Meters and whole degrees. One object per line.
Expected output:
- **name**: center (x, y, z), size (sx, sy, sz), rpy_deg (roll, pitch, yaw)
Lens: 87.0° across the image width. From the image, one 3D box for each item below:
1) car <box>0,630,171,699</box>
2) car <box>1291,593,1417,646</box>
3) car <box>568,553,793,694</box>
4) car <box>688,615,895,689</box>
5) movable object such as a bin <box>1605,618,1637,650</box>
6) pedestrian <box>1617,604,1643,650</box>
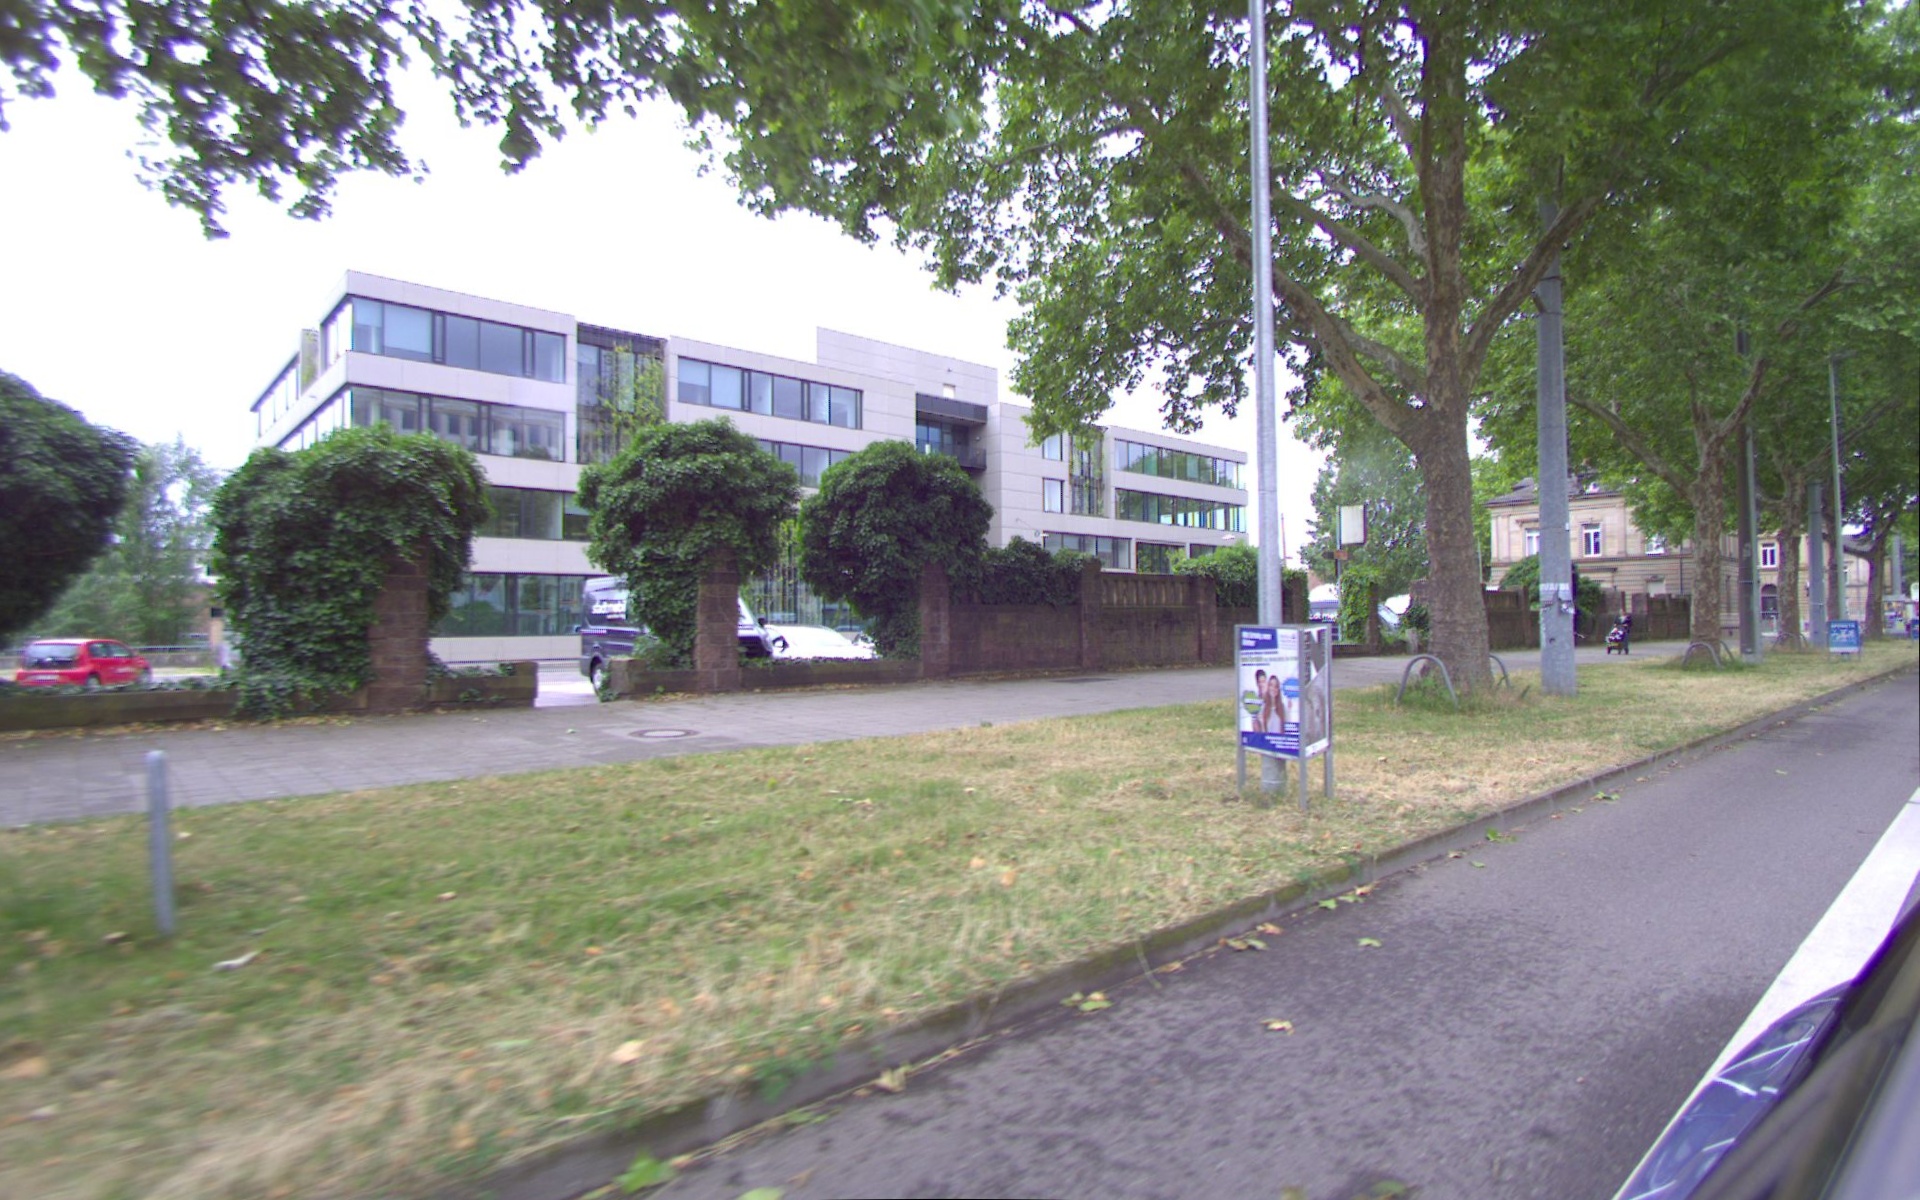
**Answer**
- **car**: center (-23.829, 1.698, 27.795), size (1.958, 1.639, 4.419), rpy_deg (0, -1, -18)
- **car**: center (15.961, 0.790, 41.156), size (1.967, 2.039, 4.349), rpy_deg (0, -1, -44)
- **car**: center (-5.707, 0.541, 20.169), size (2.041, 2.453, 5.233), rpy_deg (0, -3, -44)
- **car**: center (-3.835, 1.114, 22.344), size (1.971, 1.429, 5.097), rpy_deg (0, -2, -44)
- **movable object such as a bin**: center (23.393, 1.189, 35.815), size (0.995, 1.126, 0.613), rpy_deg (1, -2, -36)
- **pedestrian**: center (24.075, 0.968, 36.385), size (0.657, 1.653, 0.560), rpy_deg (0, -2, -36)
